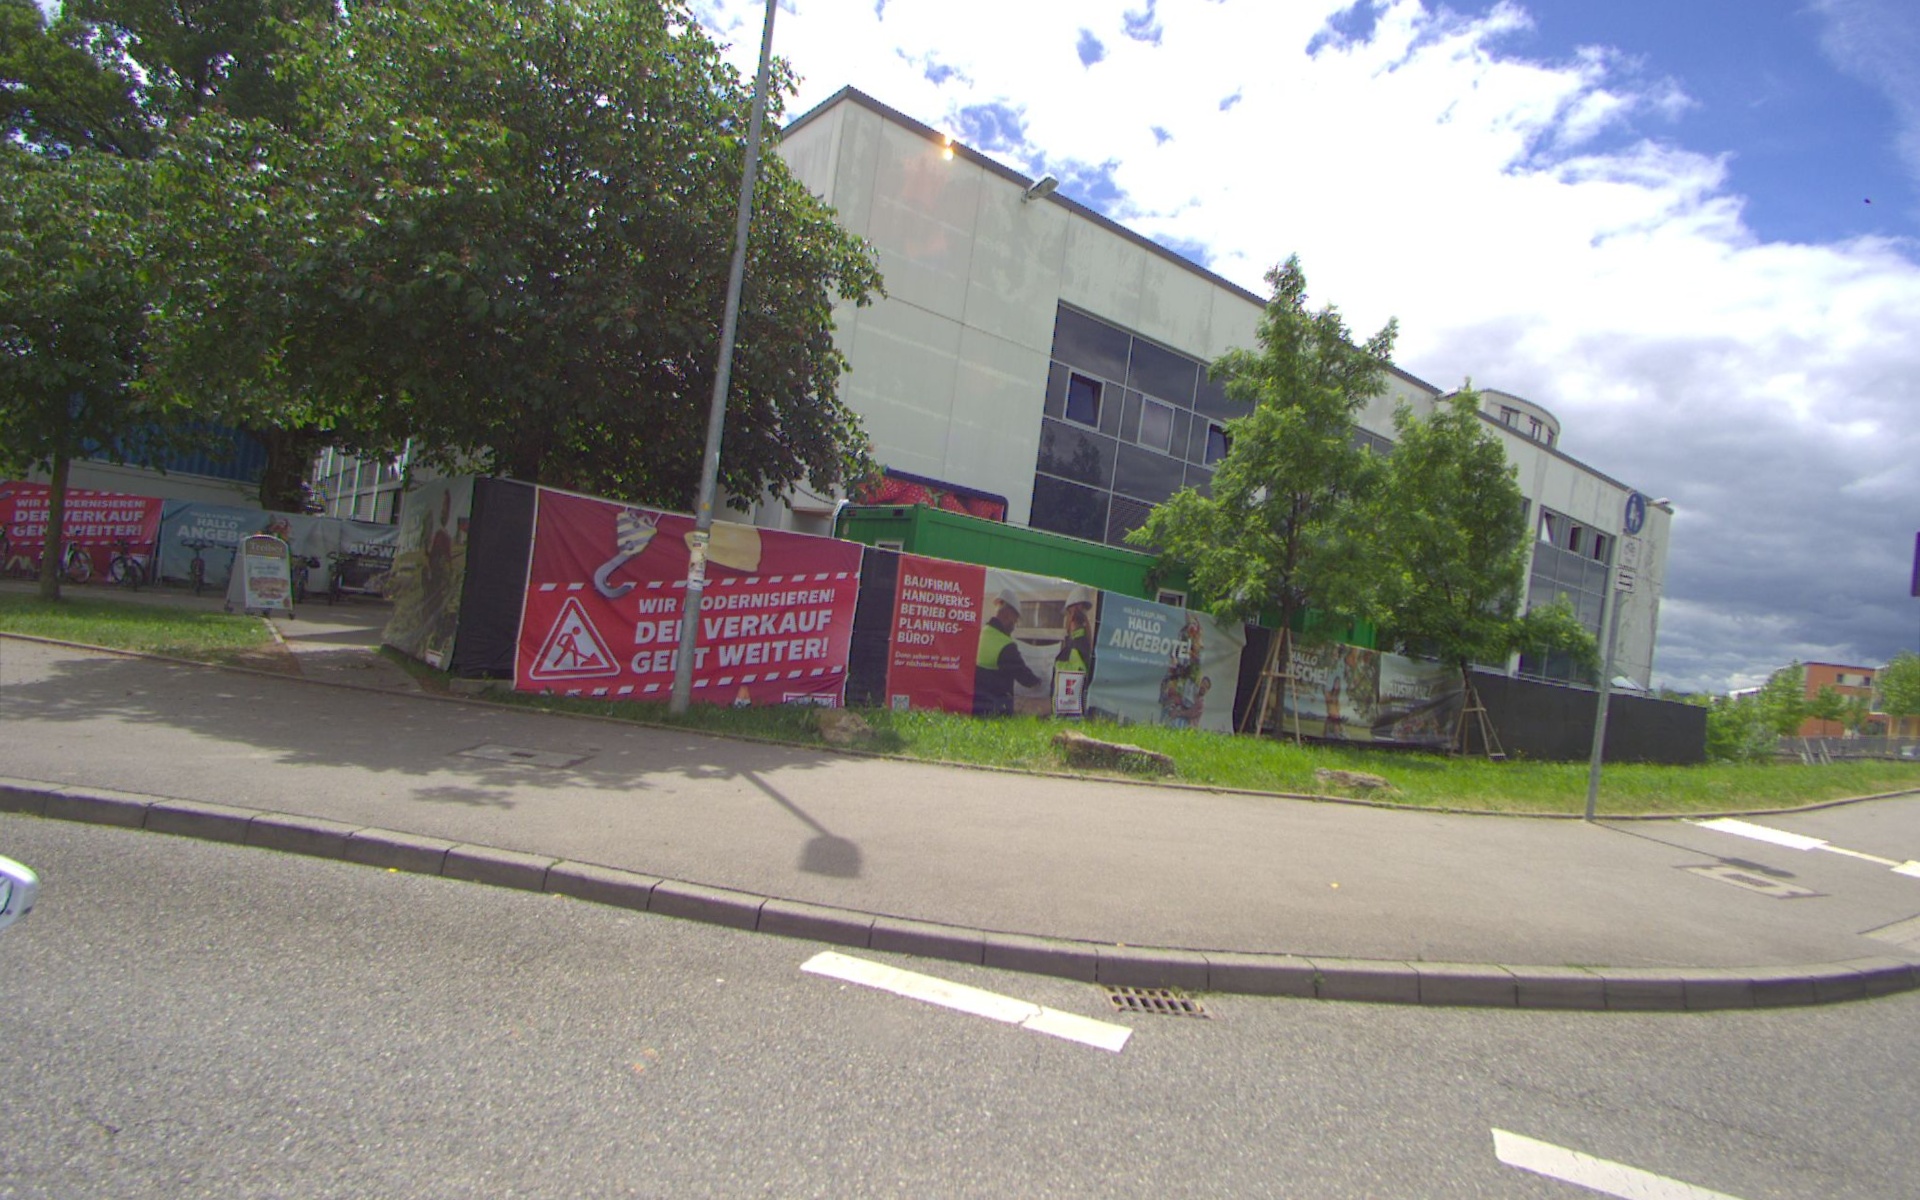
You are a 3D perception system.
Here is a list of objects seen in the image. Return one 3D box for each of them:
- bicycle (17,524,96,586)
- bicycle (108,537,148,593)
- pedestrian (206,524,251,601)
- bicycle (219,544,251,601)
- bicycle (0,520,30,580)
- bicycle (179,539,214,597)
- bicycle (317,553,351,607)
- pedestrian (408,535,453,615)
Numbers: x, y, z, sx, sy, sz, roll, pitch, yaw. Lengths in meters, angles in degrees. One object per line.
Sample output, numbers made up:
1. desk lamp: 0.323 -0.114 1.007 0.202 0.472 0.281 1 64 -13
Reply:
1. bicycle: -18.554 -0.899 20.697 0.494 1.169 1.765 7 -2 -21
2. bicycle: -17.601 -0.753 21.267 0.518 1.053 1.780 6 -1 -42
3. pedestrian: -15.867 -0.810 21.821 0.621 1.585 0.491 7 -1 -35
4. bicycle: -16.074 -0.636 22.303 0.436 1.169 1.750 8 -2 -36
5. bicycle: -19.223 -1.009 19.980 0.446 1.169 1.781 8 -2 -25
6. bicycle: -16.629 -0.702 21.927 0.422 1.169 1.646 8 -2 -35
7. bicycle: -14.642 -0.486 23.528 0.525 1.169 1.898 8 -2 -32
8. pedestrian: -12.347 -0.584 23.461 0.741 1.779 0.618 4 1 -36
